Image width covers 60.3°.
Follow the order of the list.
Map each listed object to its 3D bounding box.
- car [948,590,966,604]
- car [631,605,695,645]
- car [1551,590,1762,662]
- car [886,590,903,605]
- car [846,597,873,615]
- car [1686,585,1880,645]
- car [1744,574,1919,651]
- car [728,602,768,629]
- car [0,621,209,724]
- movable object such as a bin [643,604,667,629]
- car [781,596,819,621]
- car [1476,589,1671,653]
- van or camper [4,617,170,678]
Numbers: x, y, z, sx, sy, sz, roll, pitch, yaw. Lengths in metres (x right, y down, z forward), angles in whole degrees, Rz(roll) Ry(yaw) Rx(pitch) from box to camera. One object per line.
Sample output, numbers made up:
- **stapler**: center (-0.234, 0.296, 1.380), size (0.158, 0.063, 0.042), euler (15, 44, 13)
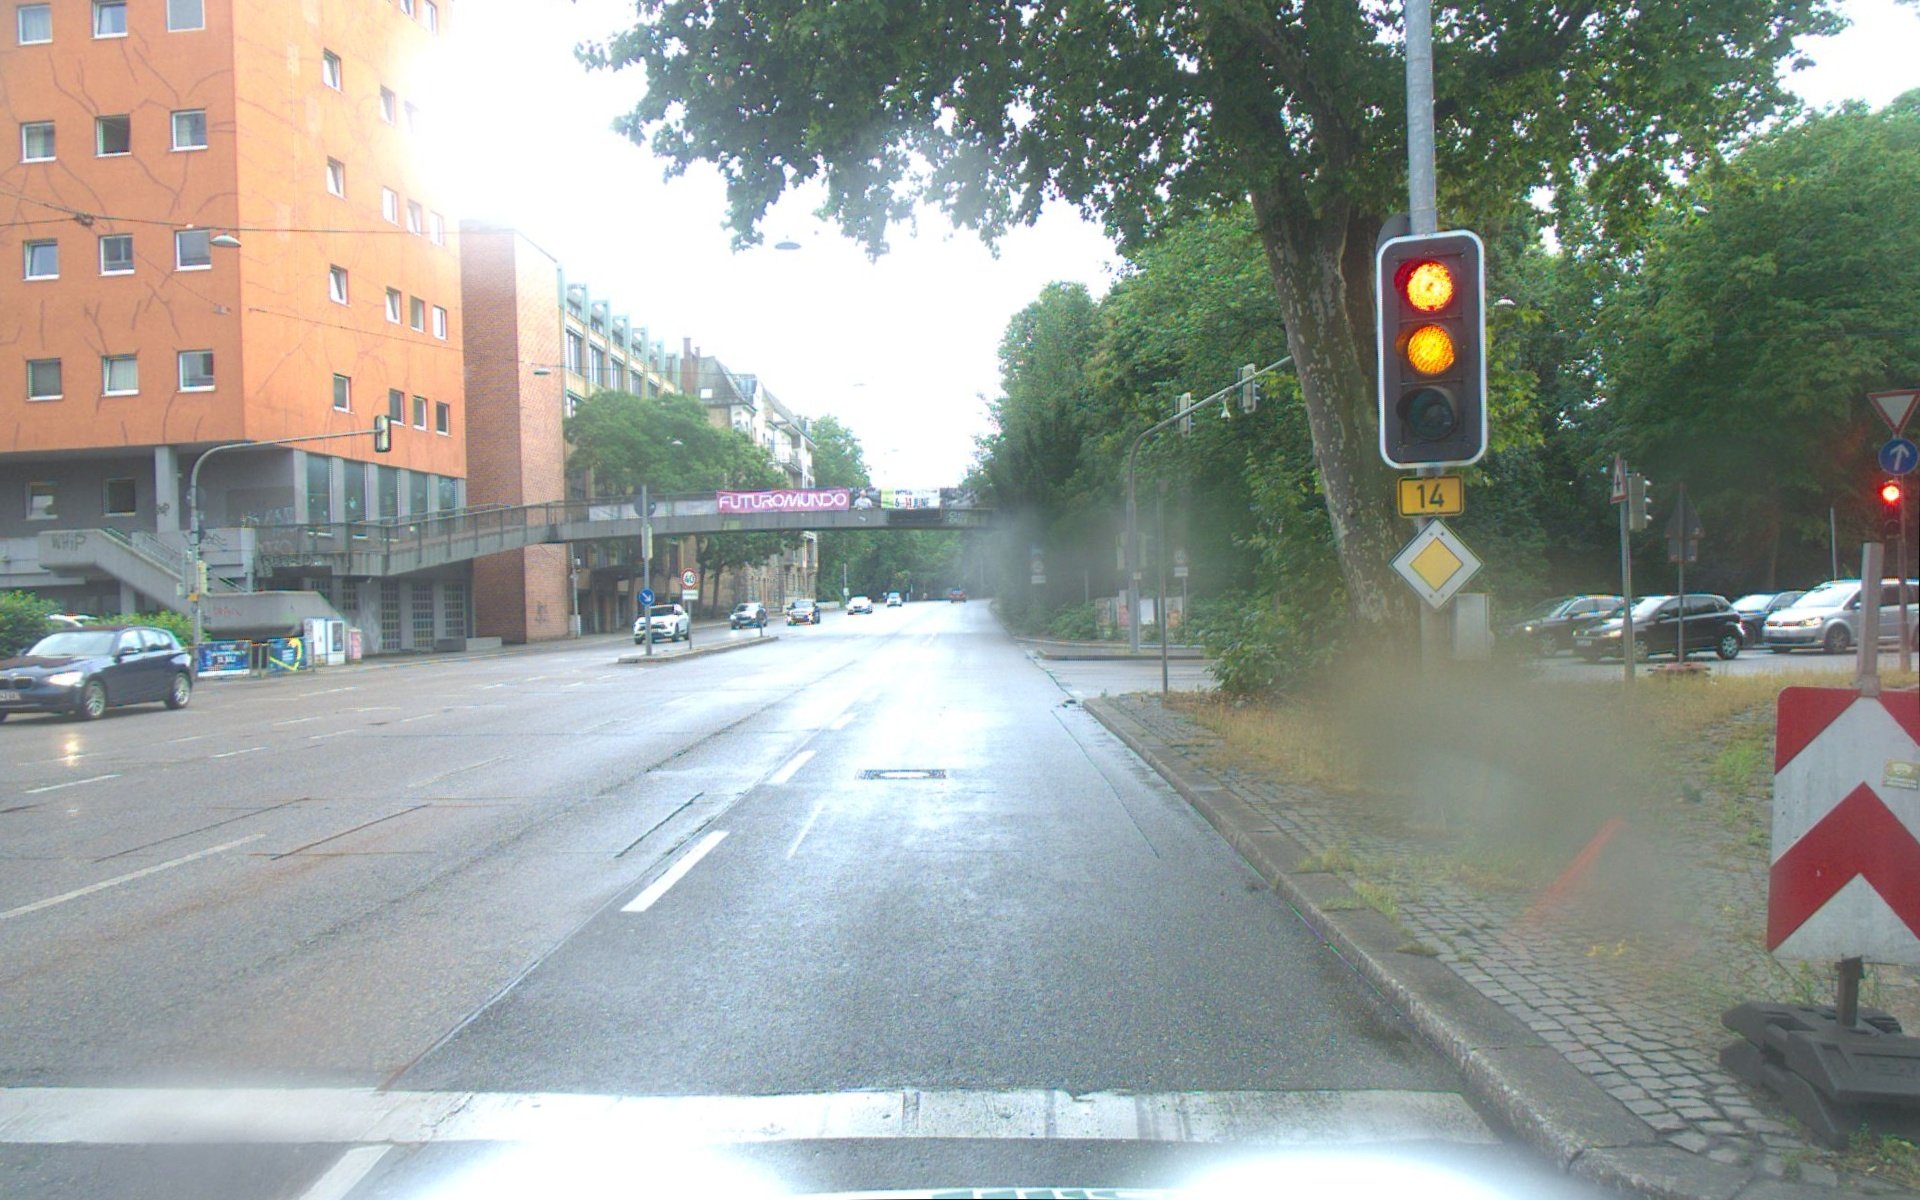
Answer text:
- **car**: center (-0.350, -0.336, 198.662), size (1.964, 1.672, 4.374), euler (-1, 0, -2)
- **car**: center (-12.962, 1.063, 72.480), size (1.850, 1.638, 4.457), euler (-1, 0, 2)
- **car**: center (15.371, 0.576, 36.517), size (4.119, 1.486, 1.785), euler (1, 0, -17)
- **car**: center (-7.161, -0.235, 181.300), size (1.568, 1.525, 3.712), euler (-3, 0, 1)
- **car**: center (-8.152, 0.490, 134.715), size (1.793, 1.418, 4.405), euler (-3, 0, 1)
- **car**: center (20.858, 0.375, 41.938), size (4.361, 1.427, 1.821), euler (1, 0, -17)
- **car**: center (20.657, 0.300, 38.526), size (4.129, 1.709, 1.898), euler (1, 0, -17)
- **car**: center (-12.468, 0.887, 97.384), size (1.673, 1.490, 4.042), euler (-2, 0, 2)
- **car**: center (-13.885, 1.116, 26.524), size (1.651, 1.444, 4.215), euler (-2, 0, 1)
- **movable object such as a bin**: center (-19.692, 1.048, 106.805), size (1.256, 1.545, 1.273), euler (-1, 0, 1)
- **car**: center (-9.551, 0.508, 98.867), size (1.647, 1.461, 3.864), euler (-2, 0, 3)
- **car**: center (14.924, 0.515, 40.286), size (4.131, 1.466, 1.941), euler (1, 0, -17)
- **van or camper**: center (-25.756, 1.394, 48.880), size (3.902, 1.656, 1.915), euler (-1, 0, 5)
